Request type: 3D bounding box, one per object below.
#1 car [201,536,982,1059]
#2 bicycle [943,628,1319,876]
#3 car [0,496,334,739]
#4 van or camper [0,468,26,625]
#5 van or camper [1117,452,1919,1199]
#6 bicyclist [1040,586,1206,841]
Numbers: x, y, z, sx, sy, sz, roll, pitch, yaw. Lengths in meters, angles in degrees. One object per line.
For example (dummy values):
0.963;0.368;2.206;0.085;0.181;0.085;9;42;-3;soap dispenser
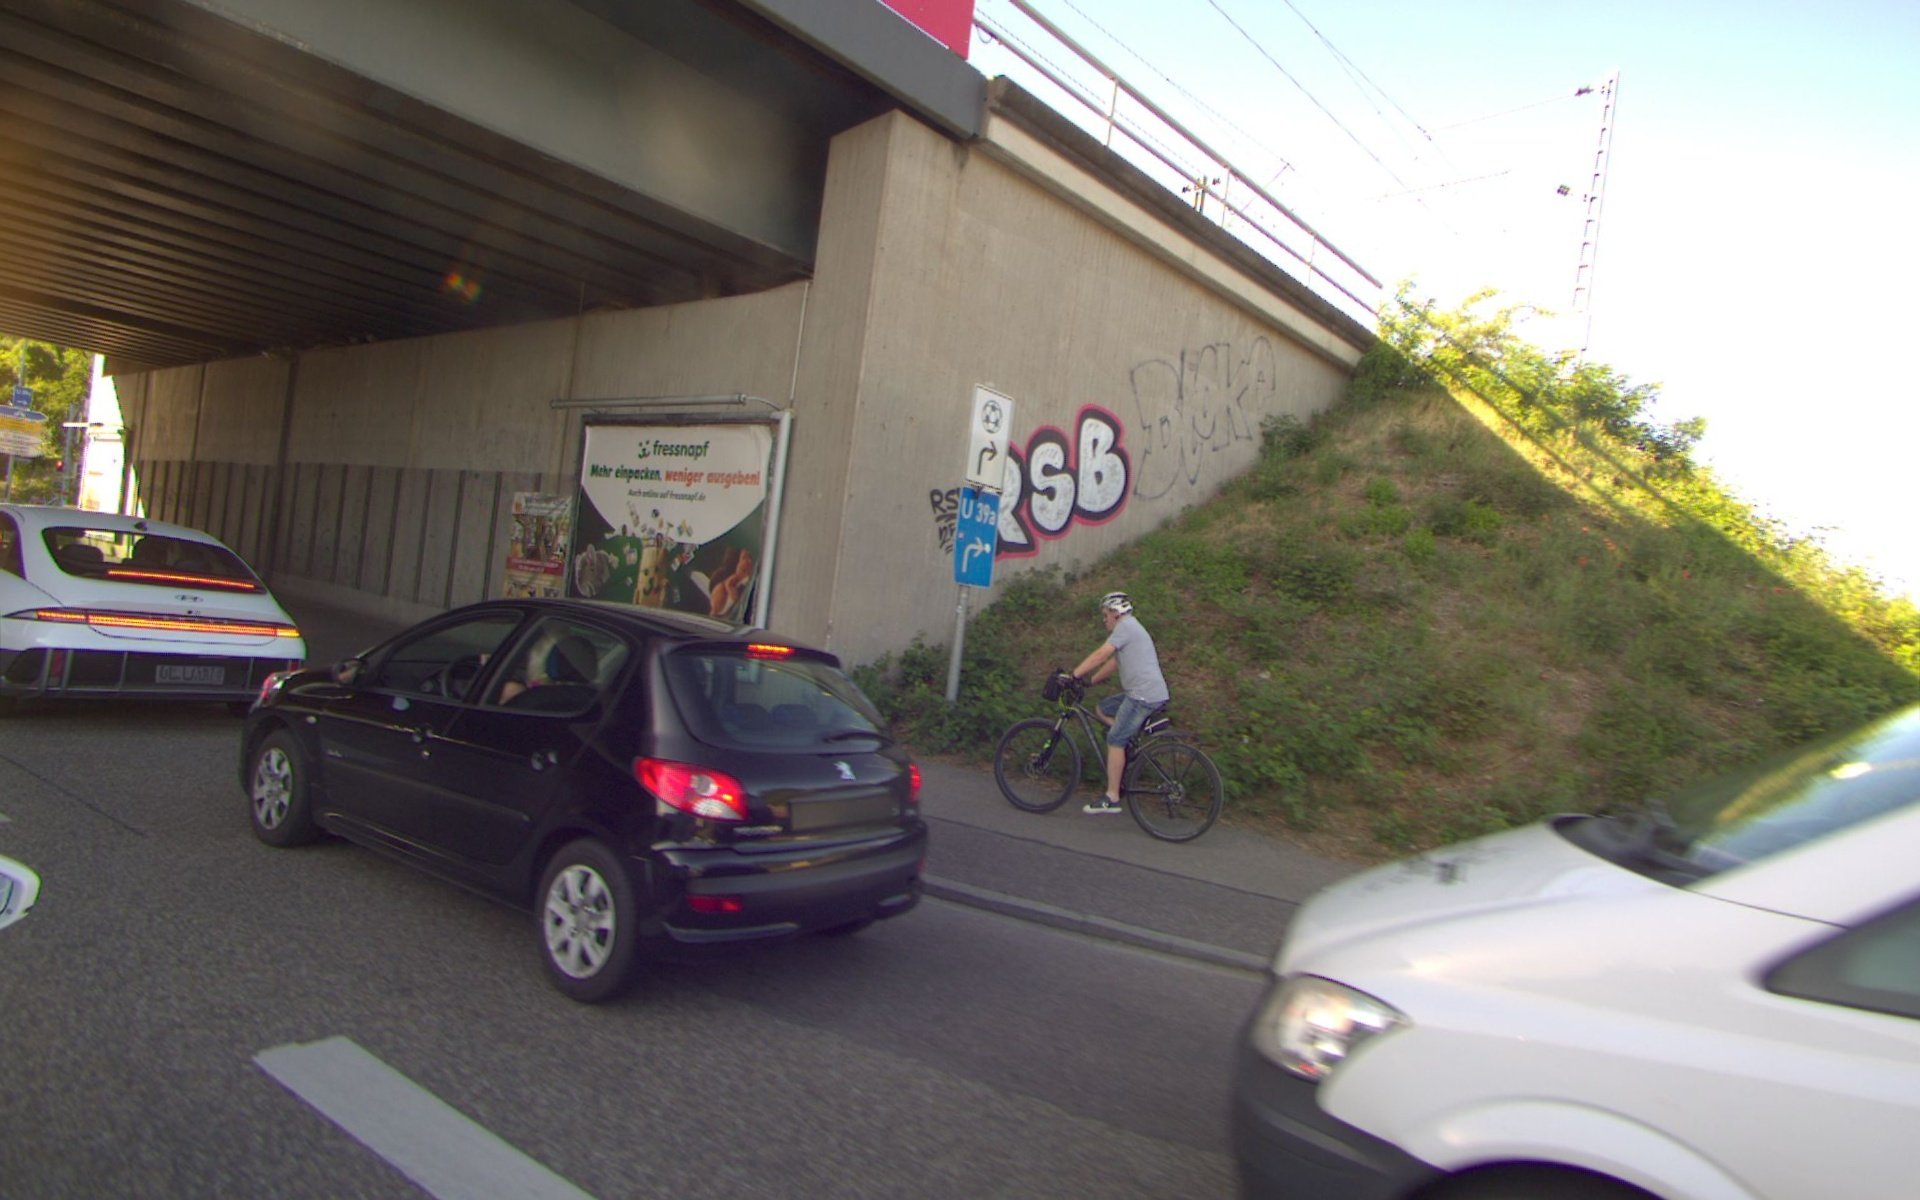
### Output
-1.921;0.655;4.917;3.618;1.451;1.607;7;-1;33;car
1.205;1.003;7.230;2.407;1.127;0.745;12;4;21;bicycle
-7.098;0.030;8.115;4.220;1.492;1.766;6;-2;34;car
-13.426;-0.892;12.339;4.472;1.812;1.827;6;-2;34;van or camper
2.946;0.996;1.768;4.796;1.906;1.962;8;0;30;van or camper
1.188;0.771;7.254;0.896;1.640;0.747;6;2;22;bicyclist
